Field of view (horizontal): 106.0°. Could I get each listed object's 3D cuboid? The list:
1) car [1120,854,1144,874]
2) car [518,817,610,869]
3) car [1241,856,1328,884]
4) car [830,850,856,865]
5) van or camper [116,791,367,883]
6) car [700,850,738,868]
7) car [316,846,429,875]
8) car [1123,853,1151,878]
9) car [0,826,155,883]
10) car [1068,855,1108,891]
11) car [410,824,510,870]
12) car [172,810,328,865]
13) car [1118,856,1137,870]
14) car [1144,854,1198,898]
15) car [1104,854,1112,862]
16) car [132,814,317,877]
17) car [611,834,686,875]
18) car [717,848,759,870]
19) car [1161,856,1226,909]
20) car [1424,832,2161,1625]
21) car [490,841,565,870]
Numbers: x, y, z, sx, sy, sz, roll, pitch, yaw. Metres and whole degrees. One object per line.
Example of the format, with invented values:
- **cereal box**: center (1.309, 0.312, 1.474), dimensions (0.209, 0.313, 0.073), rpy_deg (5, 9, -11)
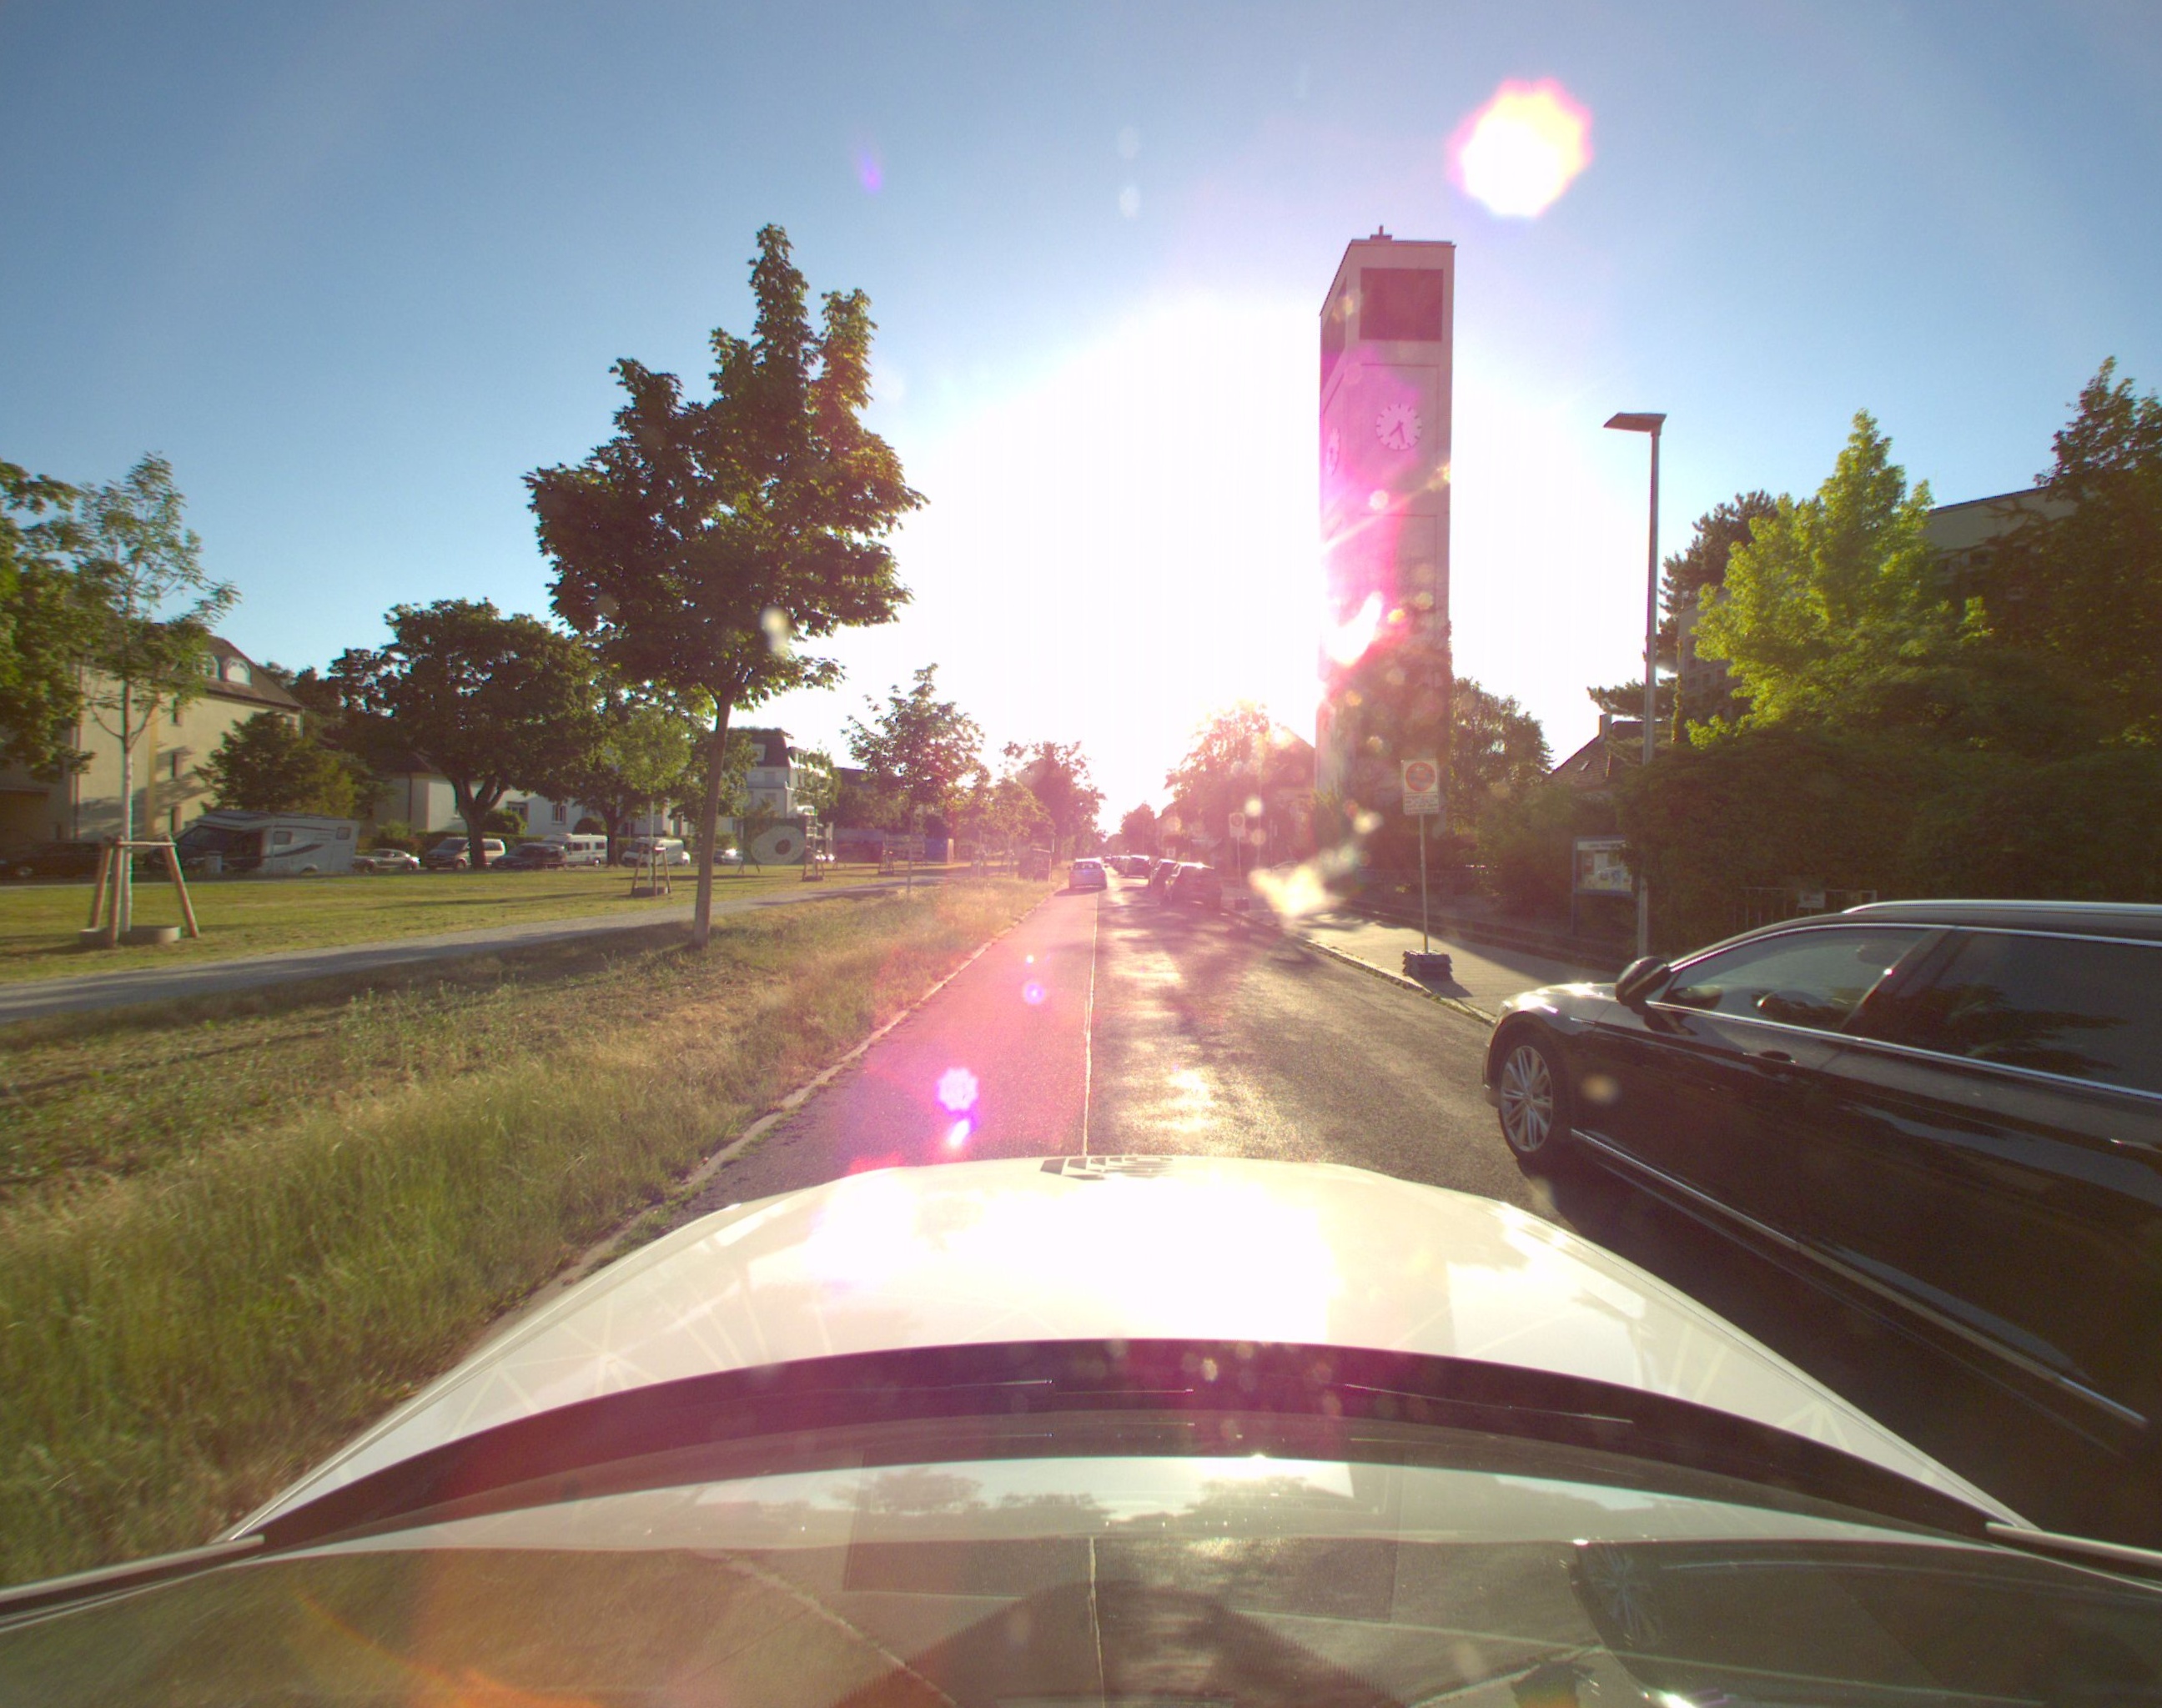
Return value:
- **car**: center (4.674, 0.895, 75.301), dimensions (1.926, 1.720, 4.622), rpy_deg (3, 0, 1)
- **car**: center (-38.197, -0.722, 60.474), dimensions (2.295, 3.559, 6.766), rpy_deg (-3, -1, 1)
- **car**: center (12.299, 1.007, 49.374), dimensions (4.830, 1.486, 2.002), rpy_deg (1, -4, 0)
- **car**: center (-31.387, 0.470, 107.652), dimensions (1.921, 1.828, 4.692), rpy_deg (-3, -1, 1)
- **van or camper**: center (-33.009, -0.622, 32.533), dimensions (2.632, 3.262, 6.908), rpy_deg (1, 0, 2)
- **car**: center (-37.822, 0.529, 85.240), dimensions (1.775, 1.703, 4.667), rpy_deg (-3, -1, 1)
- **car**: center (-38.792, 0.373, 44.760), dimensions (1.984, 1.403, 4.567), rpy_deg (-3, -1, 5)
- **car**: center (4.341, 0.905, 63.352), dimensions (1.826, 1.732, 5.032), rpy_deg (3, -1, 1)
- **car**: center (-39.194, 0.014, 30.978), dimensions (1.962, 2.004, 5.052), rpy_deg (1, 0, 2)
- **car**: center (0.382, 0.863, 38.629), dimensions (1.817, 1.566, 4.002), rpy_deg (0, 0, 2)
- **car**: center (-38.561, -0.354, 50.788), dimensions (2.129, 2.604, 5.324), rpy_deg (-3, -1, 0)
- **car**: center (-33.009, -0.622, 32.533), dimensions (1.986, 2.013, 4.002), rpy_deg (1, 0, 2)
- **car**: center (5.193, 1.007, 91.214), dimensions (1.985, 1.462, 4.564), rpy_deg (2, 0, 3)
- **car**: center (3.781, 0.873, 35.058), dimensions (1.816, 1.561, 4.624), rpy_deg (7, 0, 2)
- **car**: center (7.286, 1.143, 219.955), dimensions (1.981, 2.023, 4.002), rpy_deg (1, 0, 2)
- **car**: center (-39.332, -0.313, 37.722), dimensions (1.986, 2.598, 6.091), rpy_deg (-3, -1, 1)
- **car**: center (-32.407, 0.072, 61.287), dimensions (2.252, 2.826, 5.873), rpy_deg (-3, -1, 2)
- **car**: center (-32.327, 0.503, 76.918), dimensions (1.826, 1.899, 4.644), rpy_deg (-3, -1, 2)
- **car**: center (3.822, 0.913, 28.277), dimensions (1.681, 1.527, 4.176), rpy_deg (5, 1, 2)
- **car**: center (3.227, 0.852, 2.776), dimensions (1.987, 1.597, 4.885), rpy_deg (5, -1, 0)
- **car**: center (-32.469, 0.090, 47.939), dimensions (1.409, 1.564, 4.309), rpy_deg (1, 0, 0)
